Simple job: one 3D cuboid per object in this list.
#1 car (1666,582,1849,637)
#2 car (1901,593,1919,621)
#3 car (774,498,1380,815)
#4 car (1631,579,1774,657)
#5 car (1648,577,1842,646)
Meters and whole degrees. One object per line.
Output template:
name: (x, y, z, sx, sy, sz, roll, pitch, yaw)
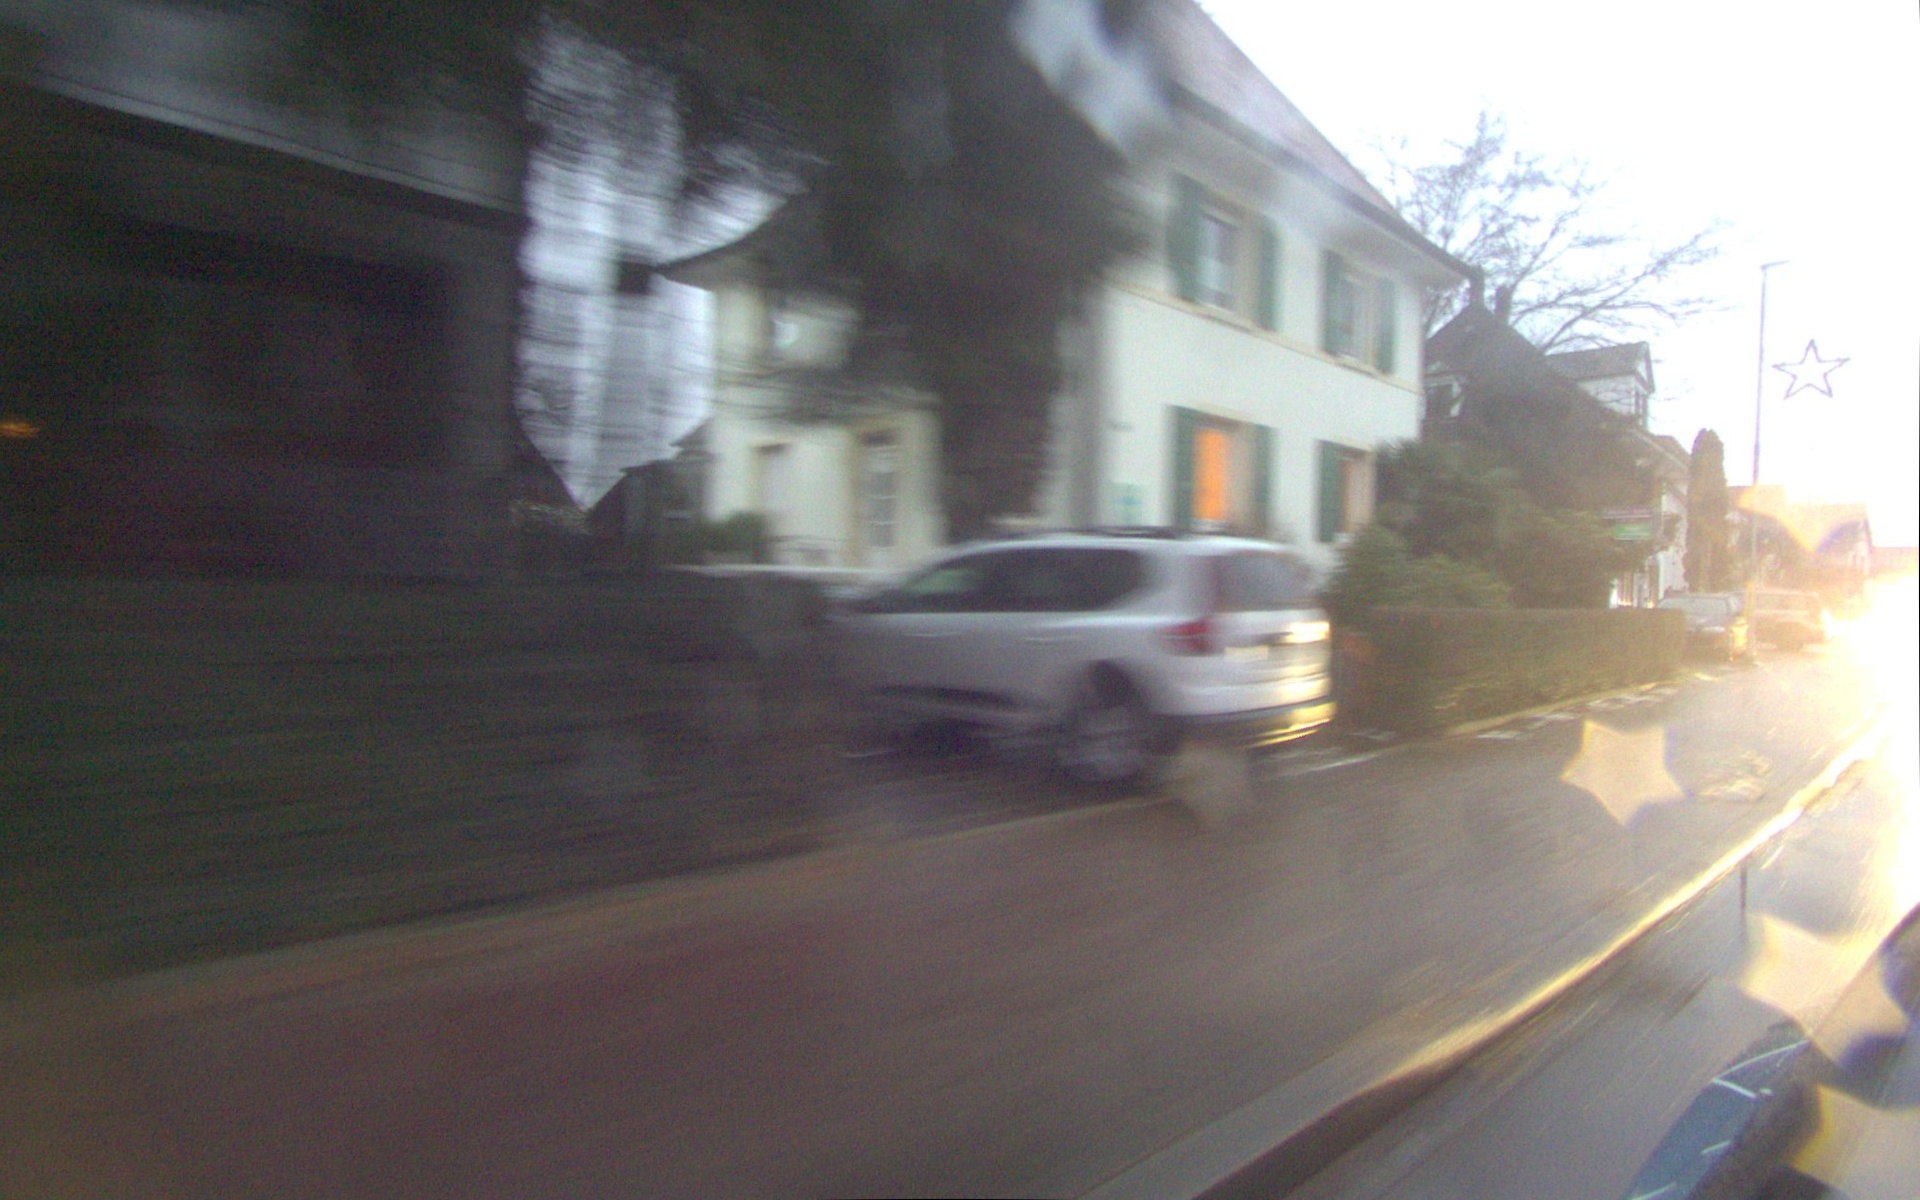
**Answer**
car: (27.522, 0.272, 35.067, 1.875, 1.649, 4.740, 0, 2, -43)
car: (58.404, 0.422, 61.305, 1.769, 1.638, 3.817, 1, 1, 40)
car: (0.652, 0.167, 7.855, 1.968, 1.753, 4.327, 0, 4, -45)
car: (17.219, 0.364, 23.387, 4.677, 1.574, 1.895, 0, 1, -44)
car: (21.791, 0.256, 28.171, 4.102, 1.727, 1.969, 2, 2, 44)
